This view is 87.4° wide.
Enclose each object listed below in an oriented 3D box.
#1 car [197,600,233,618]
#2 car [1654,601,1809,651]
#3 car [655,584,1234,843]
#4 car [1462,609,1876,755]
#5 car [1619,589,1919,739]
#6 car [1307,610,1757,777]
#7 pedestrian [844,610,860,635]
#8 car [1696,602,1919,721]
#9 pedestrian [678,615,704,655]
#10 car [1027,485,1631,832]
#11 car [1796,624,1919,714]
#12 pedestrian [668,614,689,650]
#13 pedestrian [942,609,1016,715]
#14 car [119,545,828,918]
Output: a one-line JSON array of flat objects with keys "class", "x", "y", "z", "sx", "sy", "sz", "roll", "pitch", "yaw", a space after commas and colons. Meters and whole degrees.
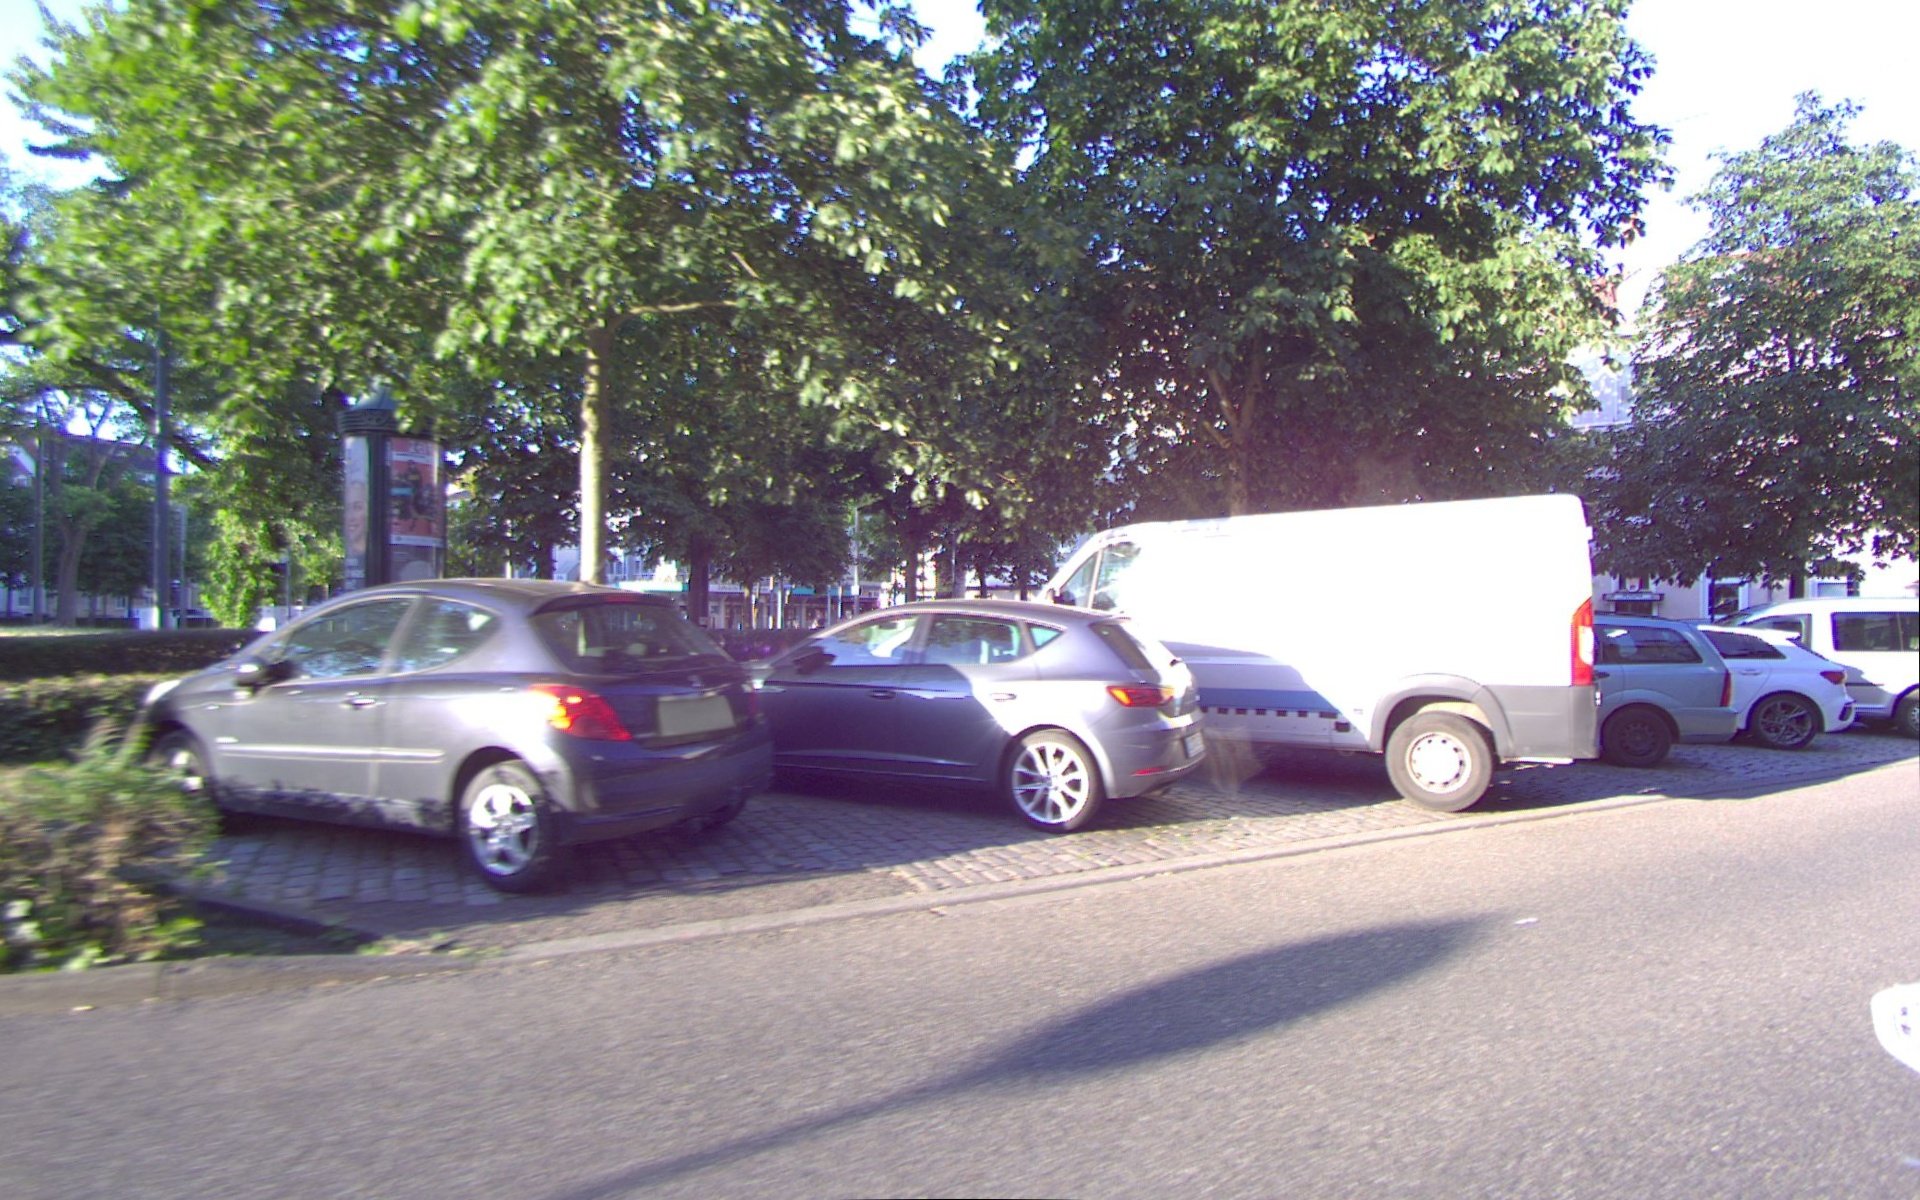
[{"class": "car", "x": -76.712, "y": 0.928, "z": 103.426, "sx": 3.936, "sy": 1.706, "sz": 1.992, "roll": 1, "pitch": 0, "yaw": 37}, {"class": "car", "x": 27.884, "y": 0.903, "z": 36.503, "sx": 4.359, "sy": 1.699, "sz": 1.954, "roll": 0, "pitch": 0, "yaw": 35}, {"class": "car", "x": -0.077, "y": 0.663, "z": 7.508, "sx": 3.922, "sy": 1.506, "sz": 1.832, "roll": 1, "pitch": 0, "yaw": 21}, {"class": "car", "x": 8.626, "y": 0.918, "z": 12.695, "sx": 3.923, "sy": 1.512, "sz": 1.849, "roll": 1, "pitch": 0, "yaw": 23}, {"class": "car", "x": 11.781, "y": 0.824, "z": 14.134, "sx": 3.924, "sy": 1.903, "sz": 1.869, "roll": 1, "pitch": 0, "yaw": 25}, {"class": "car", "x": 5.856, "y": 0.884, "z": 10.882, "sx": 3.921, "sy": 1.487, "sz": 1.883, "roll": 1, "pitch": 0, "yaw": 19}, {"class": "pedestrian", "x": -8.404, "y": 1.751, "z": 78.121, "sx": 0.879, "sy": 1.947, "sz": 0.876, "roll": 0, "pitch": 2, "yaw": 37}, {"class": "car", "x": 14.419, "y": 0.952, "z": 16.083, "sx": 3.924, "sy": 1.719, "sz": 1.748, "roll": 2, "pitch": 0, "yaw": 25}, {"class": "pedestrian", "x": -12.913, "y": 1.654, "z": 48.258, "sx": 0.984, "sy": 1.865, "sz": 0.857, "roll": -2, "pitch": 1, "yaw": -29}, {"class": "car", "x": 3.110, "y": 0.360, "z": 8.789, "sx": 4.536, "sy": 2.281, "sz": 2.197, "roll": 1, "pitch": 0, "yaw": 34}, {"class": "car", "x": 17.401, "y": 1.209, "z": 17.619, "sx": 3.930, "sy": 1.505, "sz": 1.996, "roll": 0, "pitch": -1, "yaw": 32}, {"class": "pedestrian", "x": -14.056, "y": 1.576, "z": 50.165, "sx": 0.814, "sy": 1.722, "sz": 0.740, "roll": -2, "pitch": 1, "yaw": -29}, {"class": "pedestrian", "x": 0.252, "y": 0.763, "z": 12.789, "sx": 0.734, "sy": 1.294, "sz": 0.661, "roll": 1, "pitch": 0, "yaw": 23}, {"class": "car", "x": -2.896, "y": 0.535, "z": 5.958, "sx": 3.811, "sy": 1.603, "sz": 1.801, "roll": 1, "pitch": 0, "yaw": 26}]
